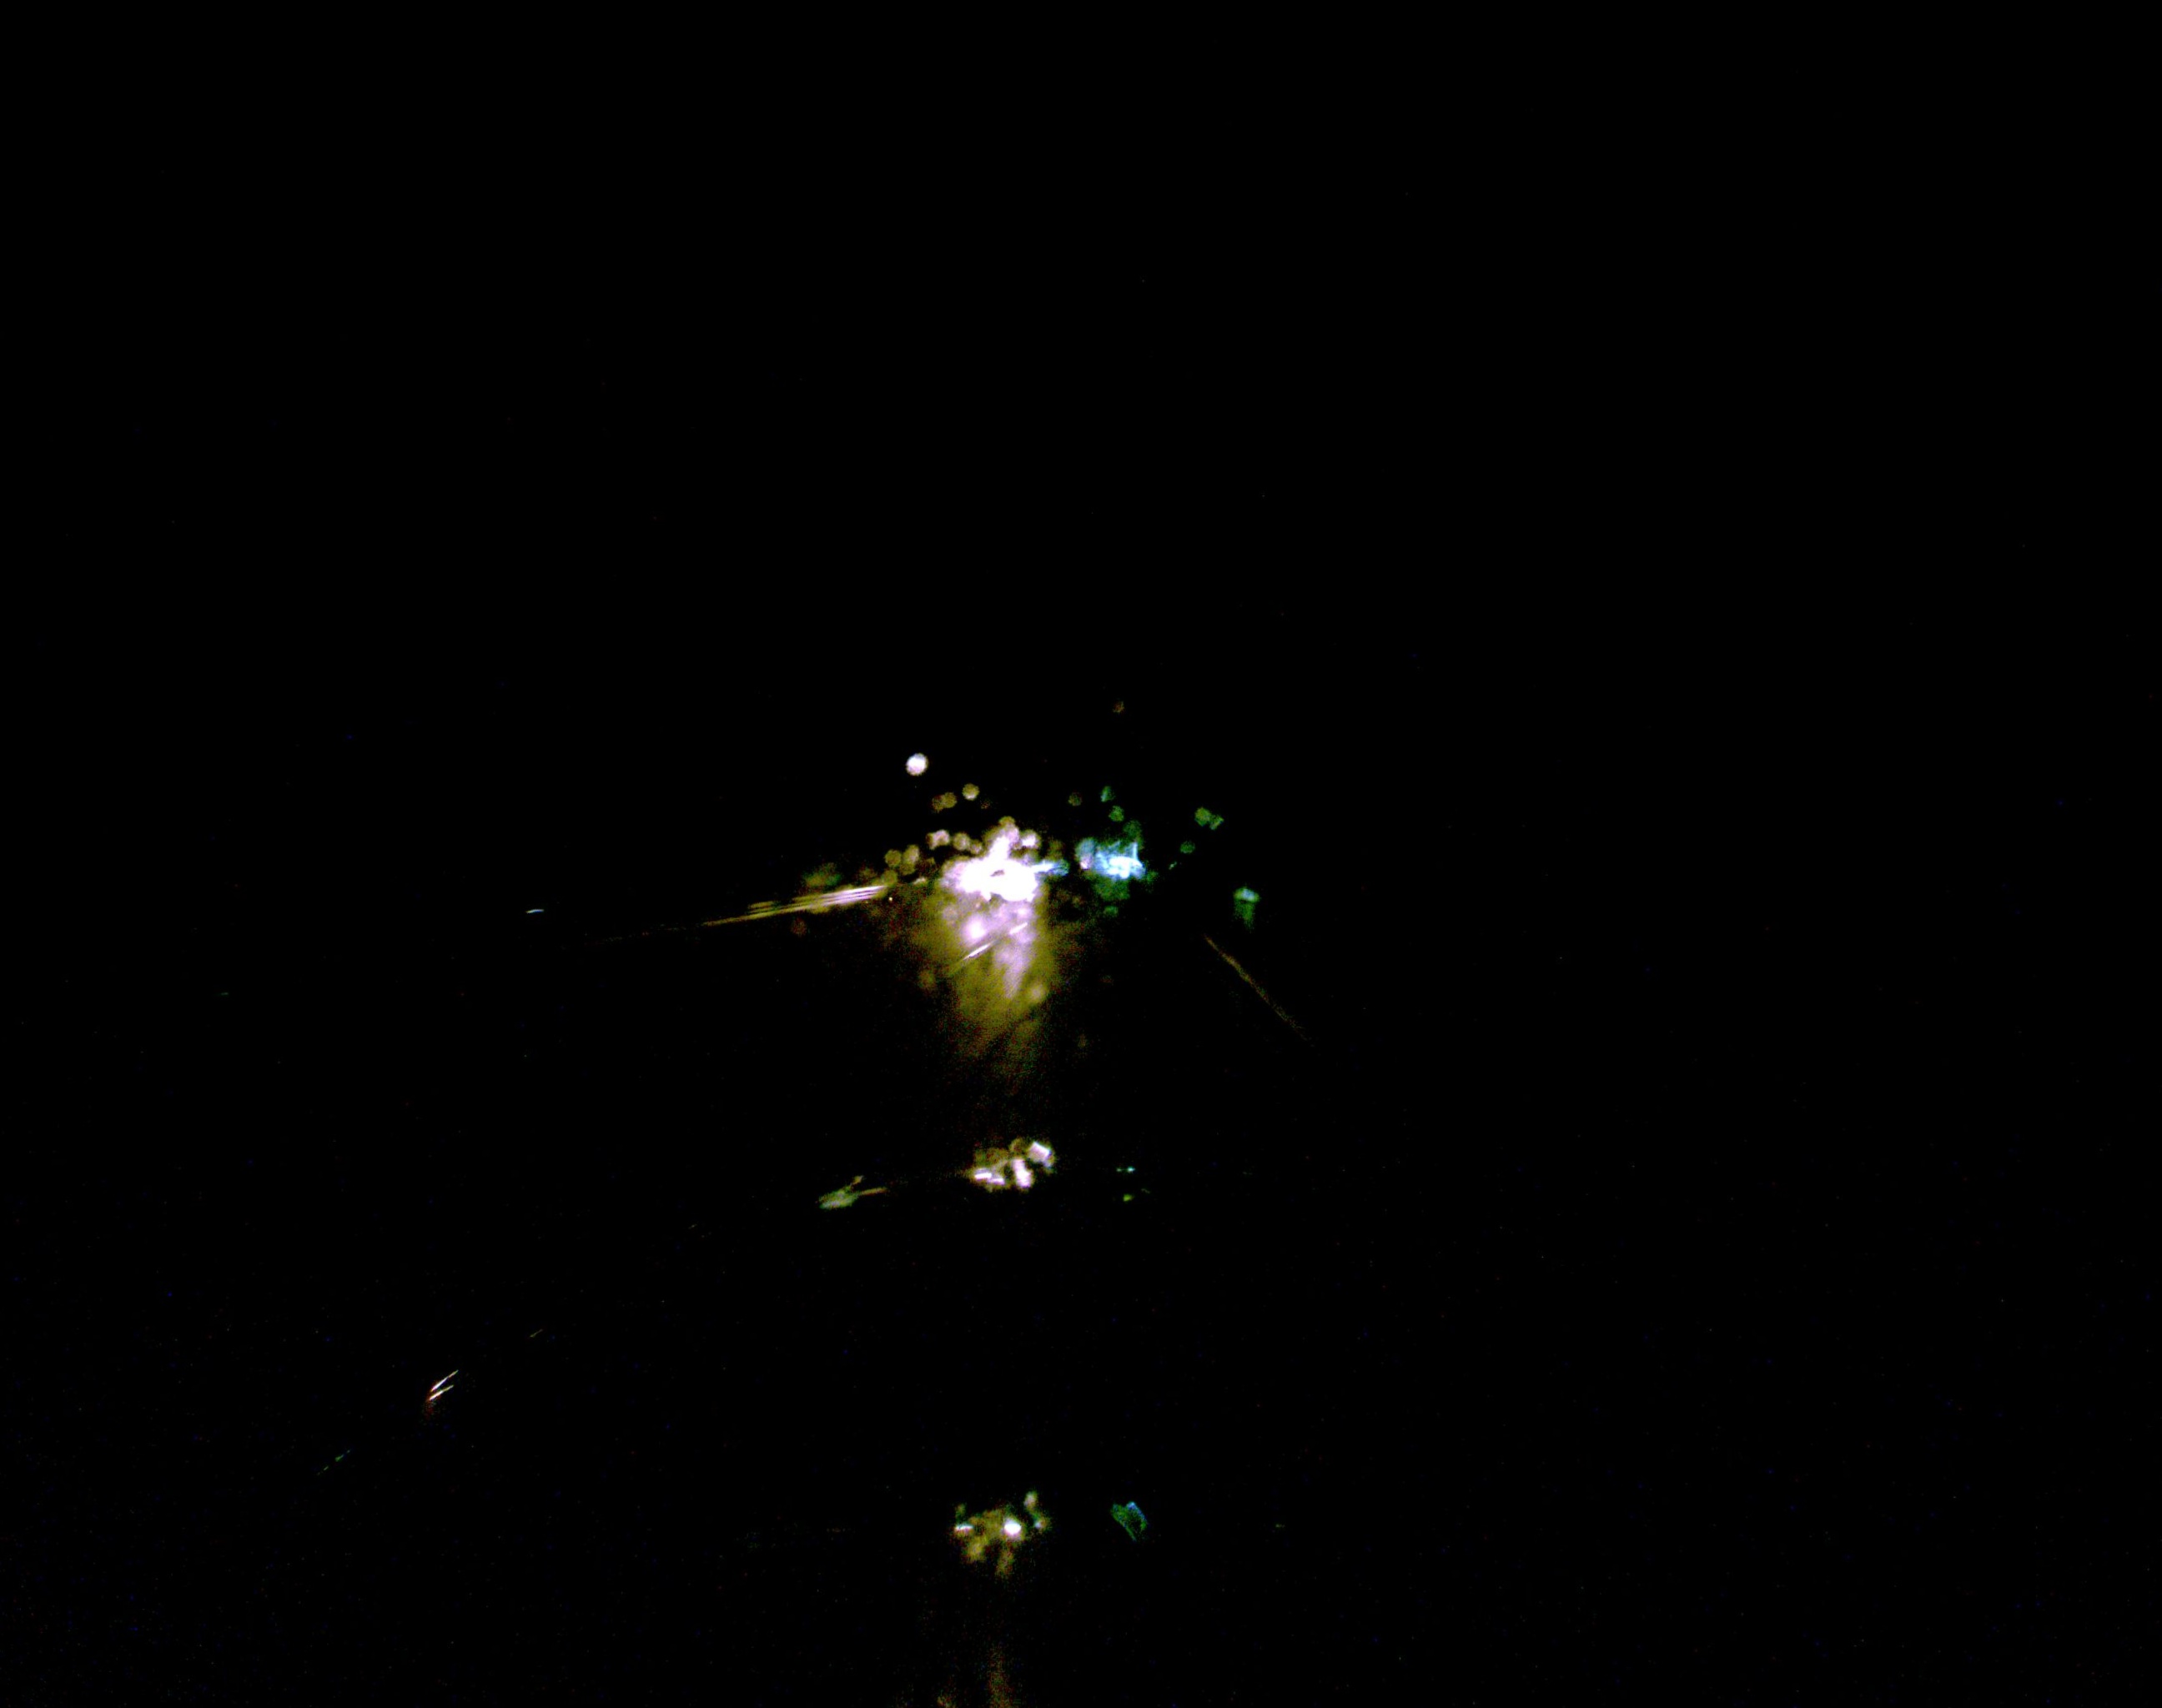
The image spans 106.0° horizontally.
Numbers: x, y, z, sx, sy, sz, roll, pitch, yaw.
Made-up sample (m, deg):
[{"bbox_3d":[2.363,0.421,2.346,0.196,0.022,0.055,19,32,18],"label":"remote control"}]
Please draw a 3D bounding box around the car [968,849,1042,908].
[{"bbox_3d":[-2.503,0.754,27.810,1.987,1.655,4.000,-5,1,0],"label":"car"}]
